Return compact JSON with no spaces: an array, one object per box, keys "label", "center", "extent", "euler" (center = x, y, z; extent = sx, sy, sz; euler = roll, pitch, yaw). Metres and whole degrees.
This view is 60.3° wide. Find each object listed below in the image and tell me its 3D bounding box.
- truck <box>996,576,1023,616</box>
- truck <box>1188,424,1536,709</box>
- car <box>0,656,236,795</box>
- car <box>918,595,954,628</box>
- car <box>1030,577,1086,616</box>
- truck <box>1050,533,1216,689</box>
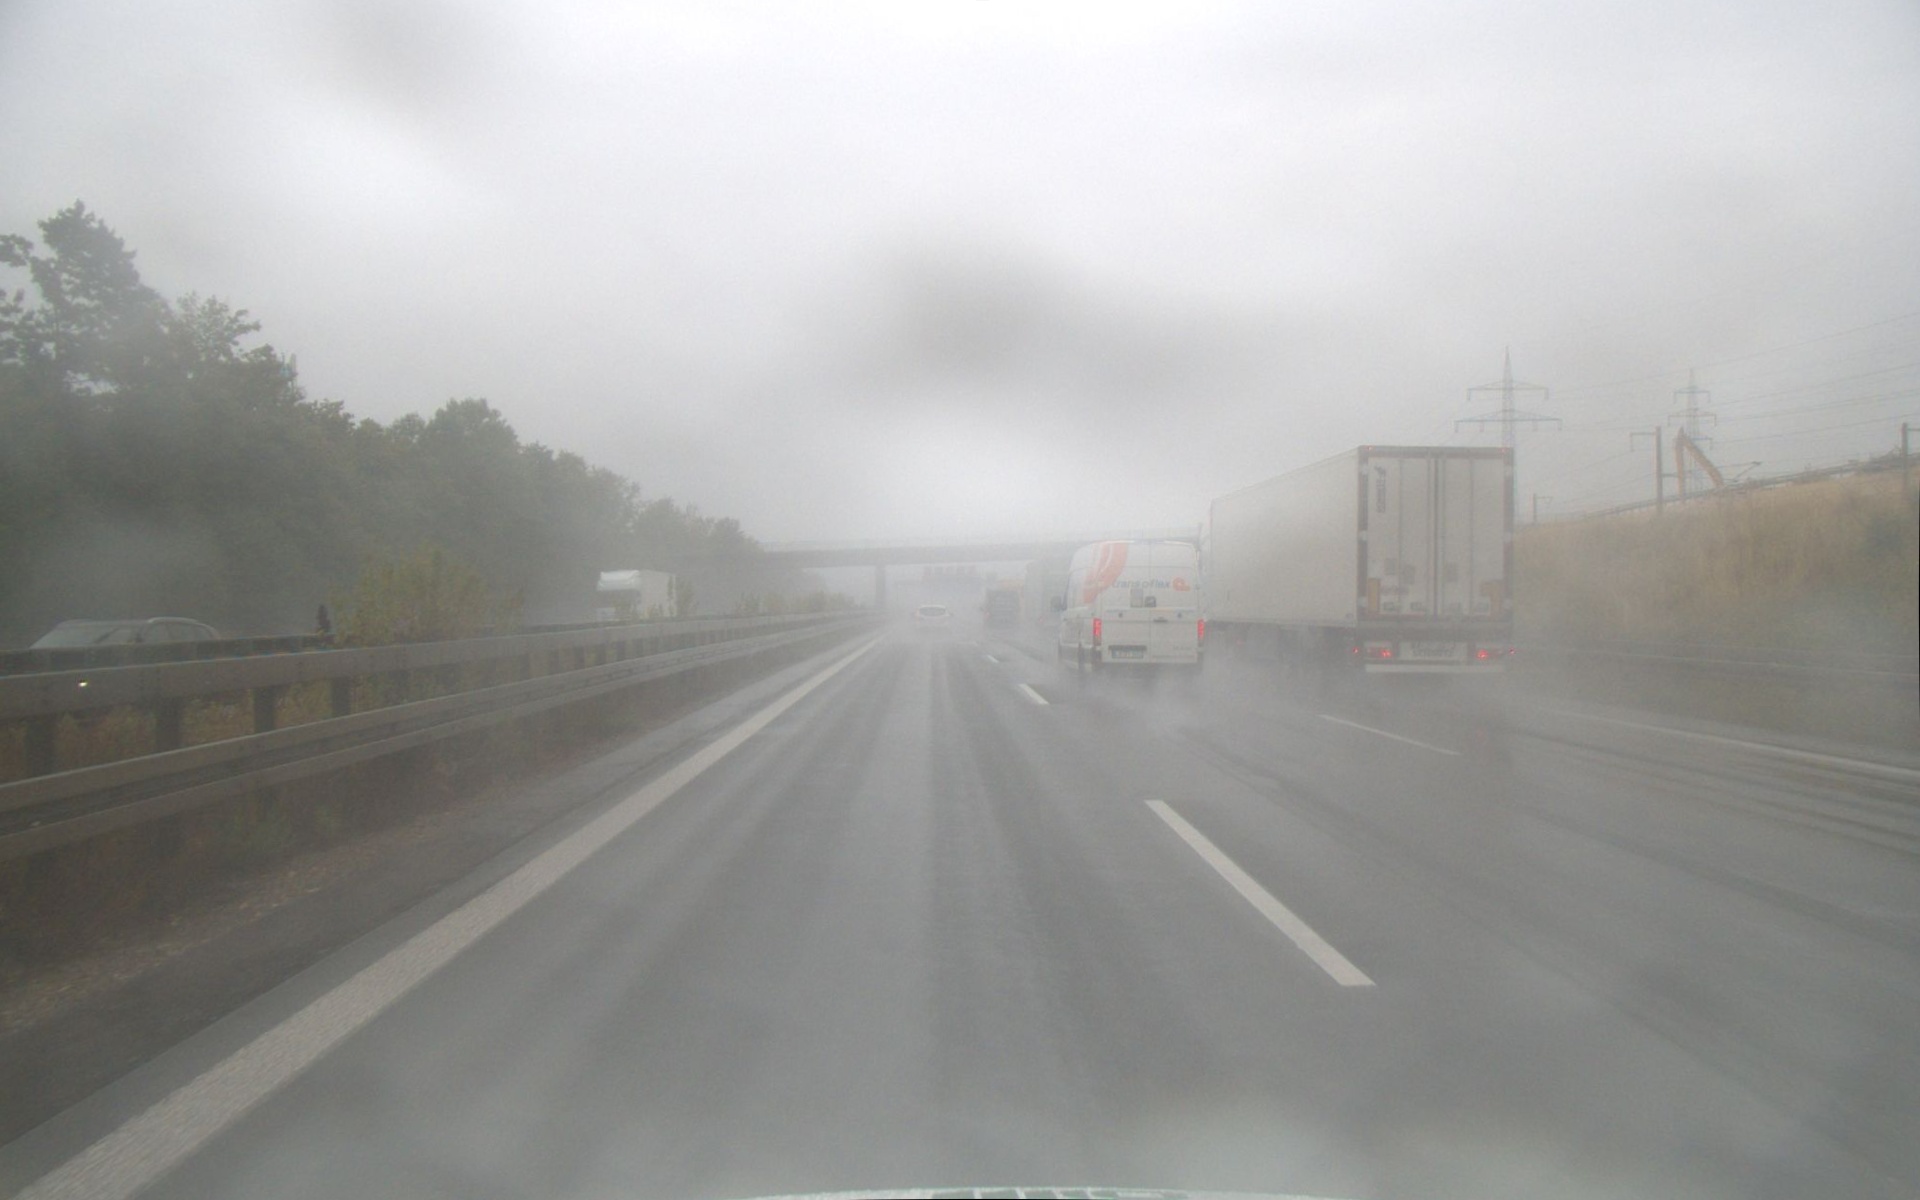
[{"label":"truck","center":[4.589,-0.407,153.424],"extent":[2.067,3.577,5.245],"euler":[1,1,-2]},{"label":"truck","center":[7.785,-0.587,35.505],"extent":[2.978,4.668,16.345],"euler":[1,0,-2]},{"label":"car","center":[-11.156,1.521,21.199],"extent":[1.954,1.476,4.515],"euler":[1,-1,-3]},{"label":"car","center":[-1.097,0.501,74.473],"extent":[1.573,1.361,3.848],"euler":[1,1,-1]},{"label":"car","center":[5.384,-0.215,91.530],"extent":[2.731,2.048,4.992],"euler":[1,1,-1]},{"label":"truck","center":[2.989,0.128,29.940],"extent":[2.370,2.536,5.560],"euler":[1,1,0]}]
